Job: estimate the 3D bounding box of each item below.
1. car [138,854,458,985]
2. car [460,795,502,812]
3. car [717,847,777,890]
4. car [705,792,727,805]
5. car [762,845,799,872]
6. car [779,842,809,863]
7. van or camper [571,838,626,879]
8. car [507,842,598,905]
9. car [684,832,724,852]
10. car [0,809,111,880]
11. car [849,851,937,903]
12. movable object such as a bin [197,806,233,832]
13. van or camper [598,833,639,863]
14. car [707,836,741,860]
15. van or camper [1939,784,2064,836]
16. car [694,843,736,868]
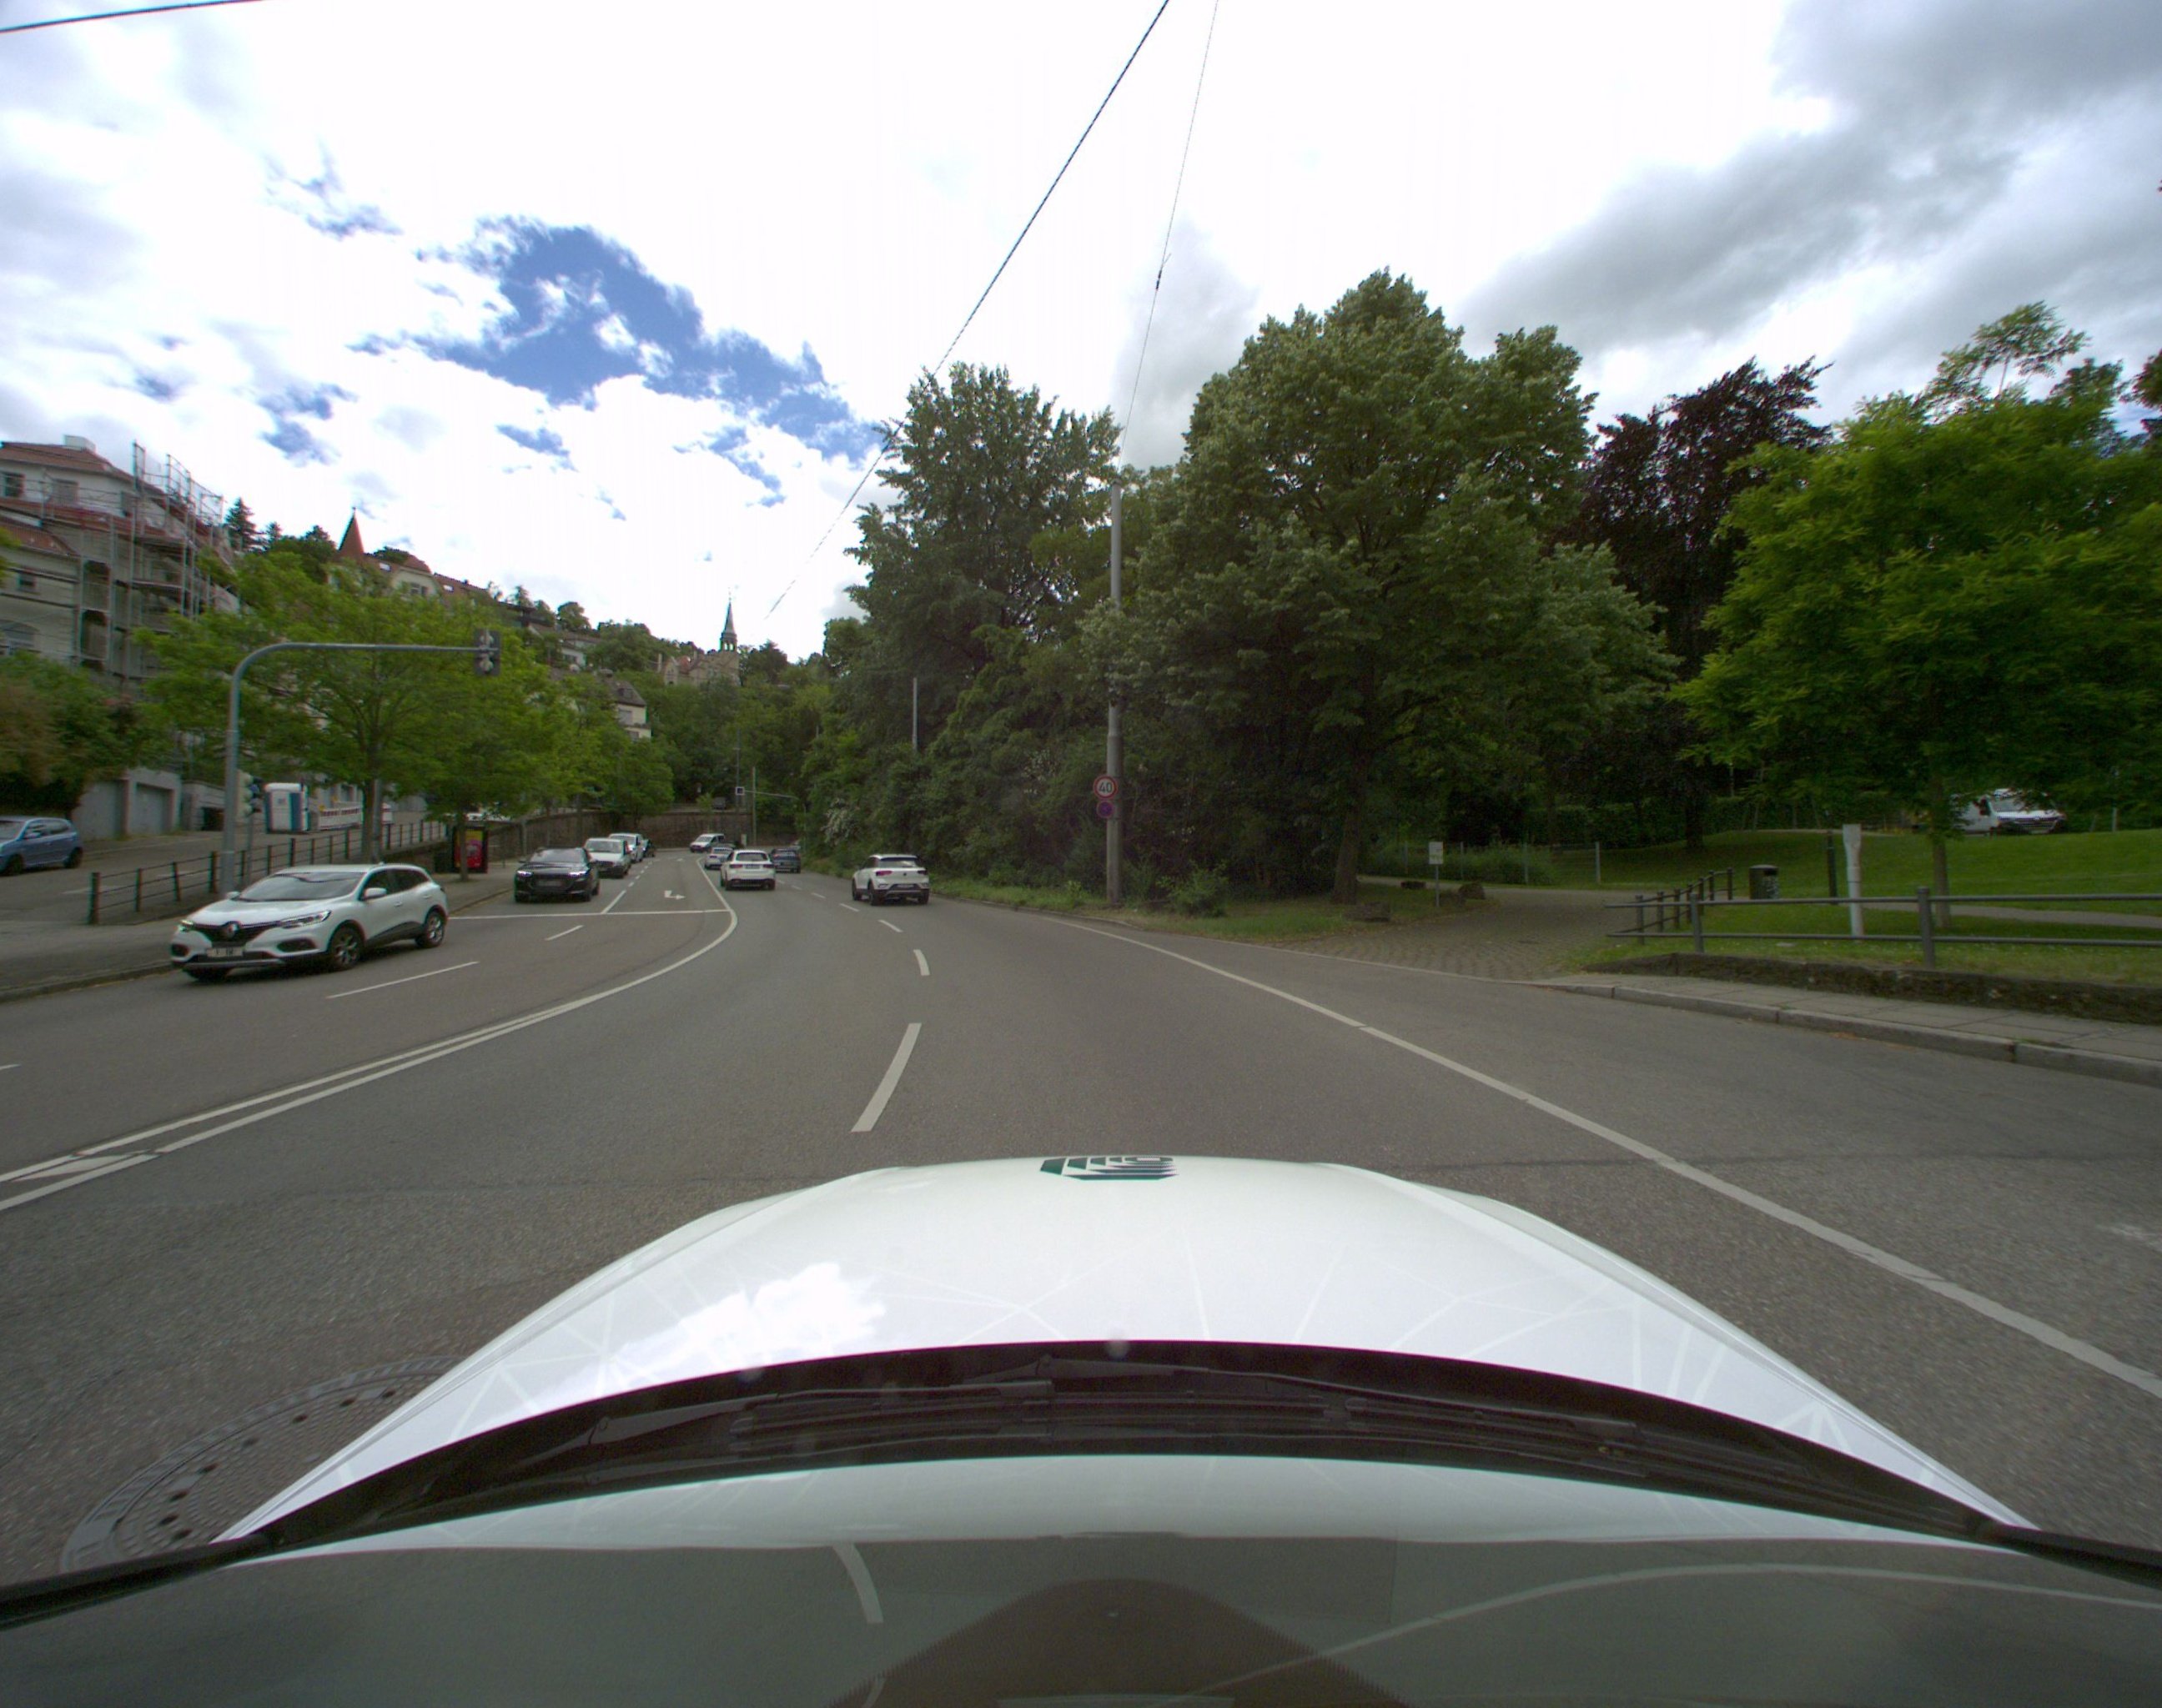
[{"bbox_3d":[-12.540,0.899,13.530,1.899,1.654,4.353,-2,1,-15],"label":"car"},{"bbox_3d":[-49.038,-4.128,66.613,1.554,1.279,3.581,-1,1,-15],"label":"car"},{"bbox_3d":[-13.960,0.563,33.871,1.888,1.652,4.302,-1,0,-28],"label":"car"},{"bbox_3d":[-45.606,-6.915,101.888,1.998,1.485,3.980,0,5,-16],"label":"car"},{"bbox_3d":[-19.499,0.263,52.751,1.870,1.632,3.926,-3,1,-25],"label":"car"},{"bbox_3d":[-29.296,-0.184,83.266,1.992,2.013,3.989,-2,1,-8],"label":"car"},{"bbox_3d":[-23.698,0.166,40.182,2.005,1.895,5.408,1,0,-27],"label":"van or camper"},{"bbox_3d":[-17.119,0.560,26.605,1.906,1.791,4.717,-3,1,-27],"label":"car"},{"bbox_3d":[-37.016,-1.151,80.079,1.940,1.799,4.282,3,-1,-1],"label":"car"},{"bbox_3d":[-28.851,-0.315,21.846,2.002,1.573,3.972,2,3,-23],"label":"car"},{"bbox_3d":[-6.108,0.686,26.169,1.875,1.556,3.860,0,0,-27],"label":"car"},{"bbox_3d":[-37.568,-1.525,35.339,0.811,1.042,0.830,-5,1,-32],"label":"movable object such as a bin"},{"bbox_3d":[-32.196,-0.445,56.798,2.003,2.013,5.517,1,1,-25],"label":"van or camper"},{"bbox_3d":[-31.776,-0.513,72.605,2.194,2.013,3.979,-2,1,-15],"label":"car"},{"bbox_3d":[40.443,-1.898,35.958,2.281,2.013,5.477,-1,1,33],"label":"van or camper"},{"bbox_3d":[-23.778,0.072,53.067,2.256,1.519,4.277,0,1,-21],"label":"car"}]
